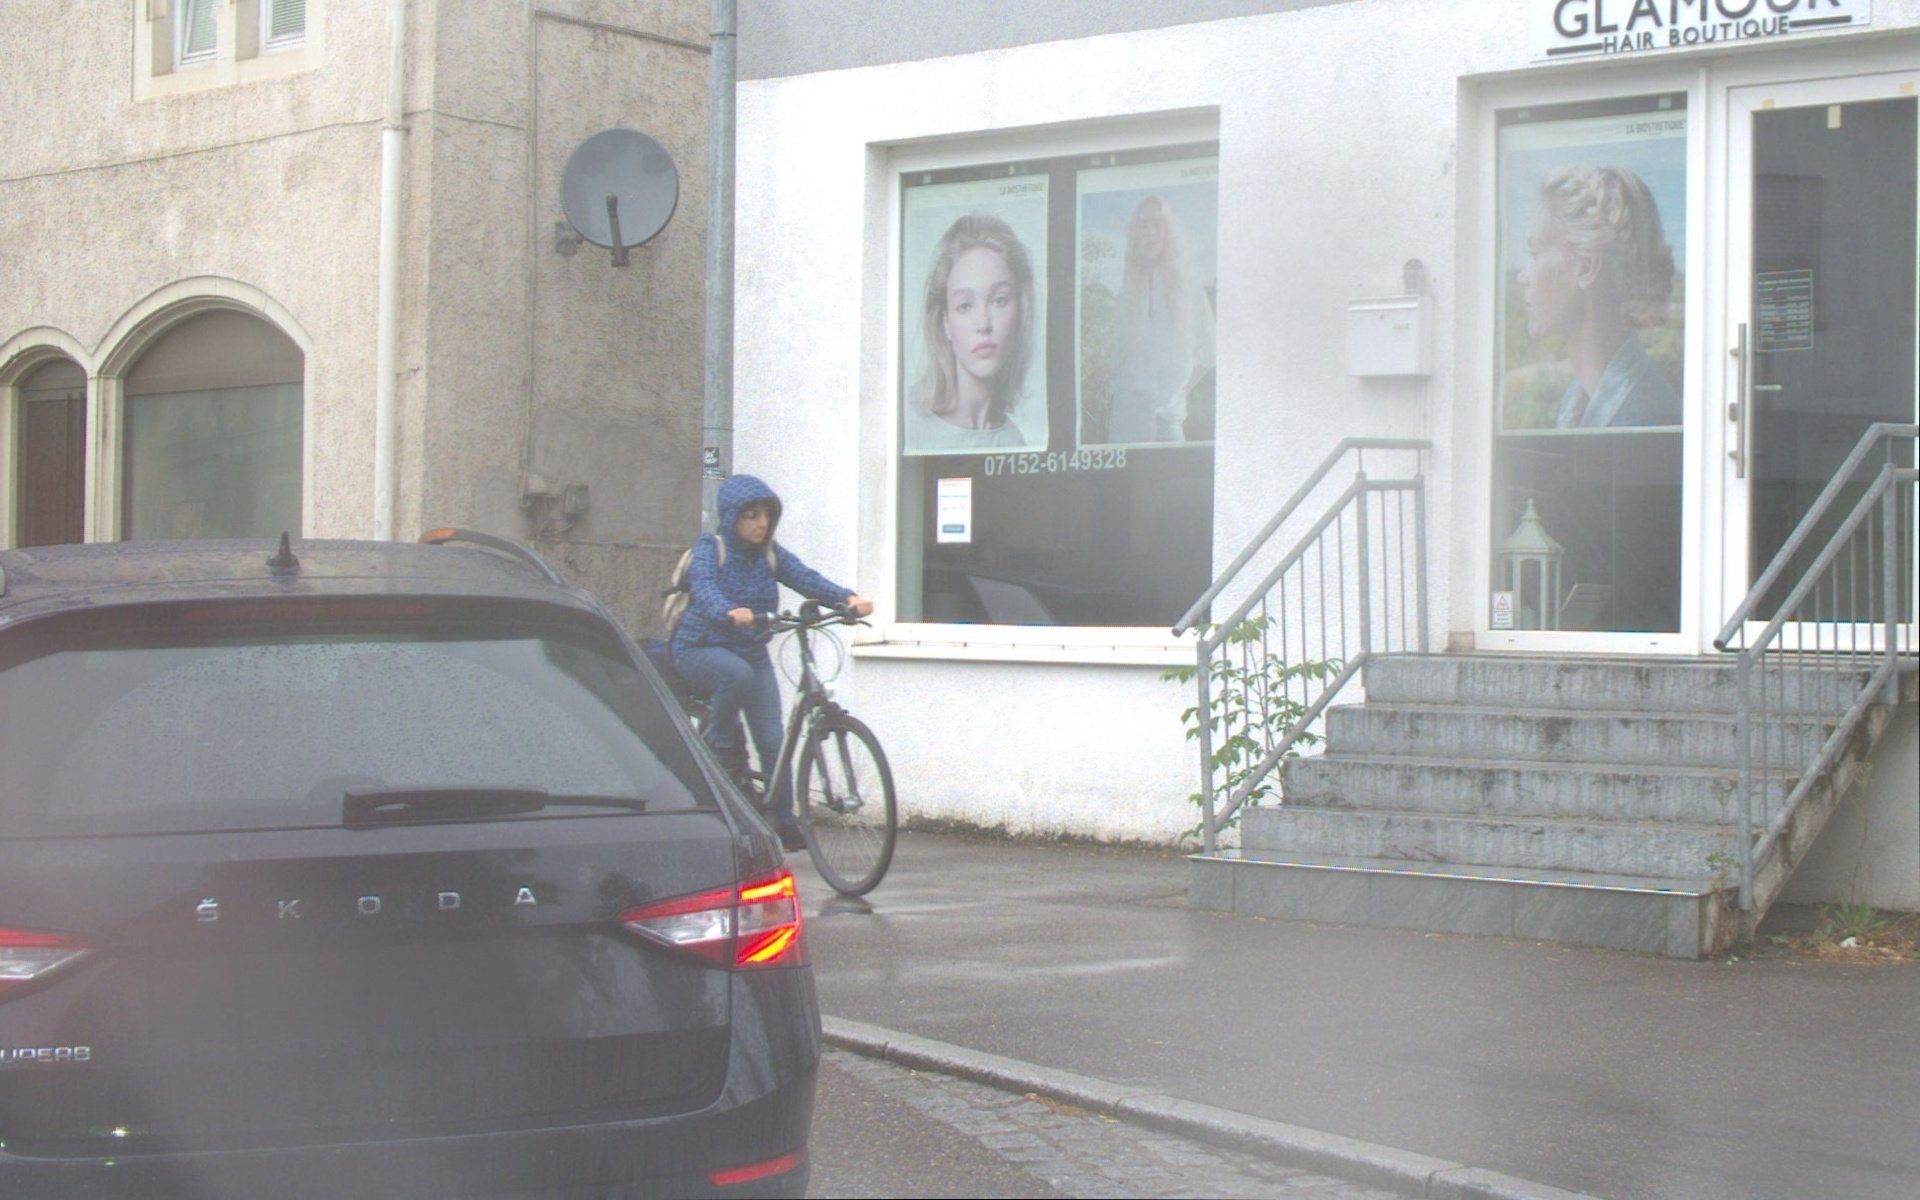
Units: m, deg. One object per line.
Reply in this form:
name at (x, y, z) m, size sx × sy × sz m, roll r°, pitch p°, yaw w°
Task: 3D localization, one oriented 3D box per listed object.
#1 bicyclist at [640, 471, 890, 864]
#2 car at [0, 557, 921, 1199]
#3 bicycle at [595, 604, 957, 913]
bicyclist at (-0.798, 0.247, 13.833) m, size 0.683 × 1.512 × 1.031 m, roll 1°, pitch 2°, yaw -22°
car at (-1.607, 0.634, 7.206) m, size 1.886 × 1.443 × 4.358 m, roll 0°, pitch 1°, yaw -17°
bicycle at (-0.778, 0.595, 13.705) m, size 0.761 × 1.031 × 2.082 m, roll 3°, pitch 1°, yaw -22°
